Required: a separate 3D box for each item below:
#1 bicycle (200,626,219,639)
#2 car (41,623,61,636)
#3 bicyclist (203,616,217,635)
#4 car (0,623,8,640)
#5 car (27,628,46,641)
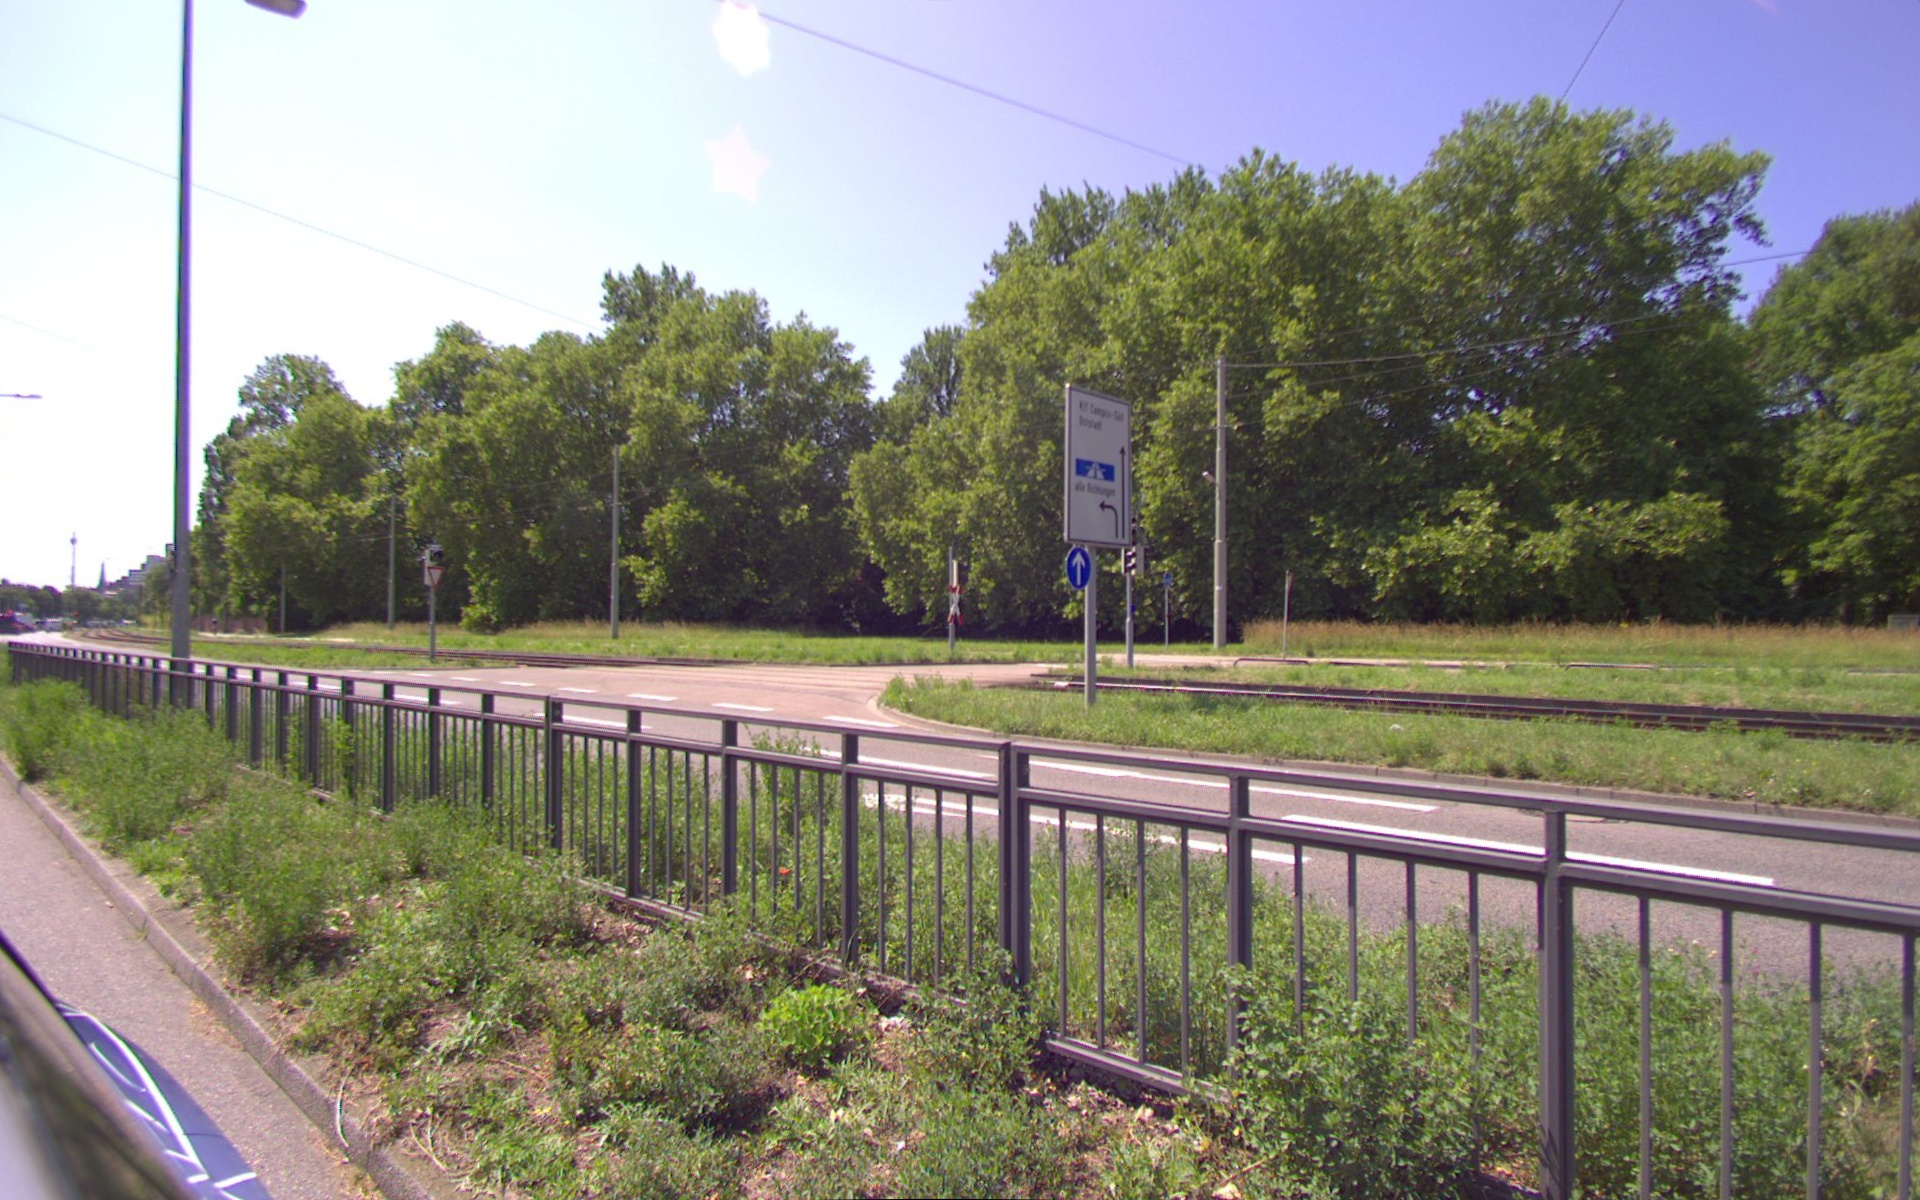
[{"bbox_3d":[-71.136,3.053,95.881,2.785,1.171,0.851,-1,-2,41],"label":"bicycle"},{"bbox_3d":[-136.549,4.474,152.004,1.970,1.871,4.003,1,-2,-44],"label":"car"},{"bbox_3d":[-71.082,2.437,95.879,1.117,1.820,0.851,-1,-2,41],"label":"bicyclist"},{"bbox_3d":[-107.831,3.494,113.141,1.970,1.871,4.004,1,-2,-43],"label":"car"},{"bbox_3d":[-141.946,5.254,155.588,1.970,1.871,4.003,1,-2,-44],"label":"car"}]
